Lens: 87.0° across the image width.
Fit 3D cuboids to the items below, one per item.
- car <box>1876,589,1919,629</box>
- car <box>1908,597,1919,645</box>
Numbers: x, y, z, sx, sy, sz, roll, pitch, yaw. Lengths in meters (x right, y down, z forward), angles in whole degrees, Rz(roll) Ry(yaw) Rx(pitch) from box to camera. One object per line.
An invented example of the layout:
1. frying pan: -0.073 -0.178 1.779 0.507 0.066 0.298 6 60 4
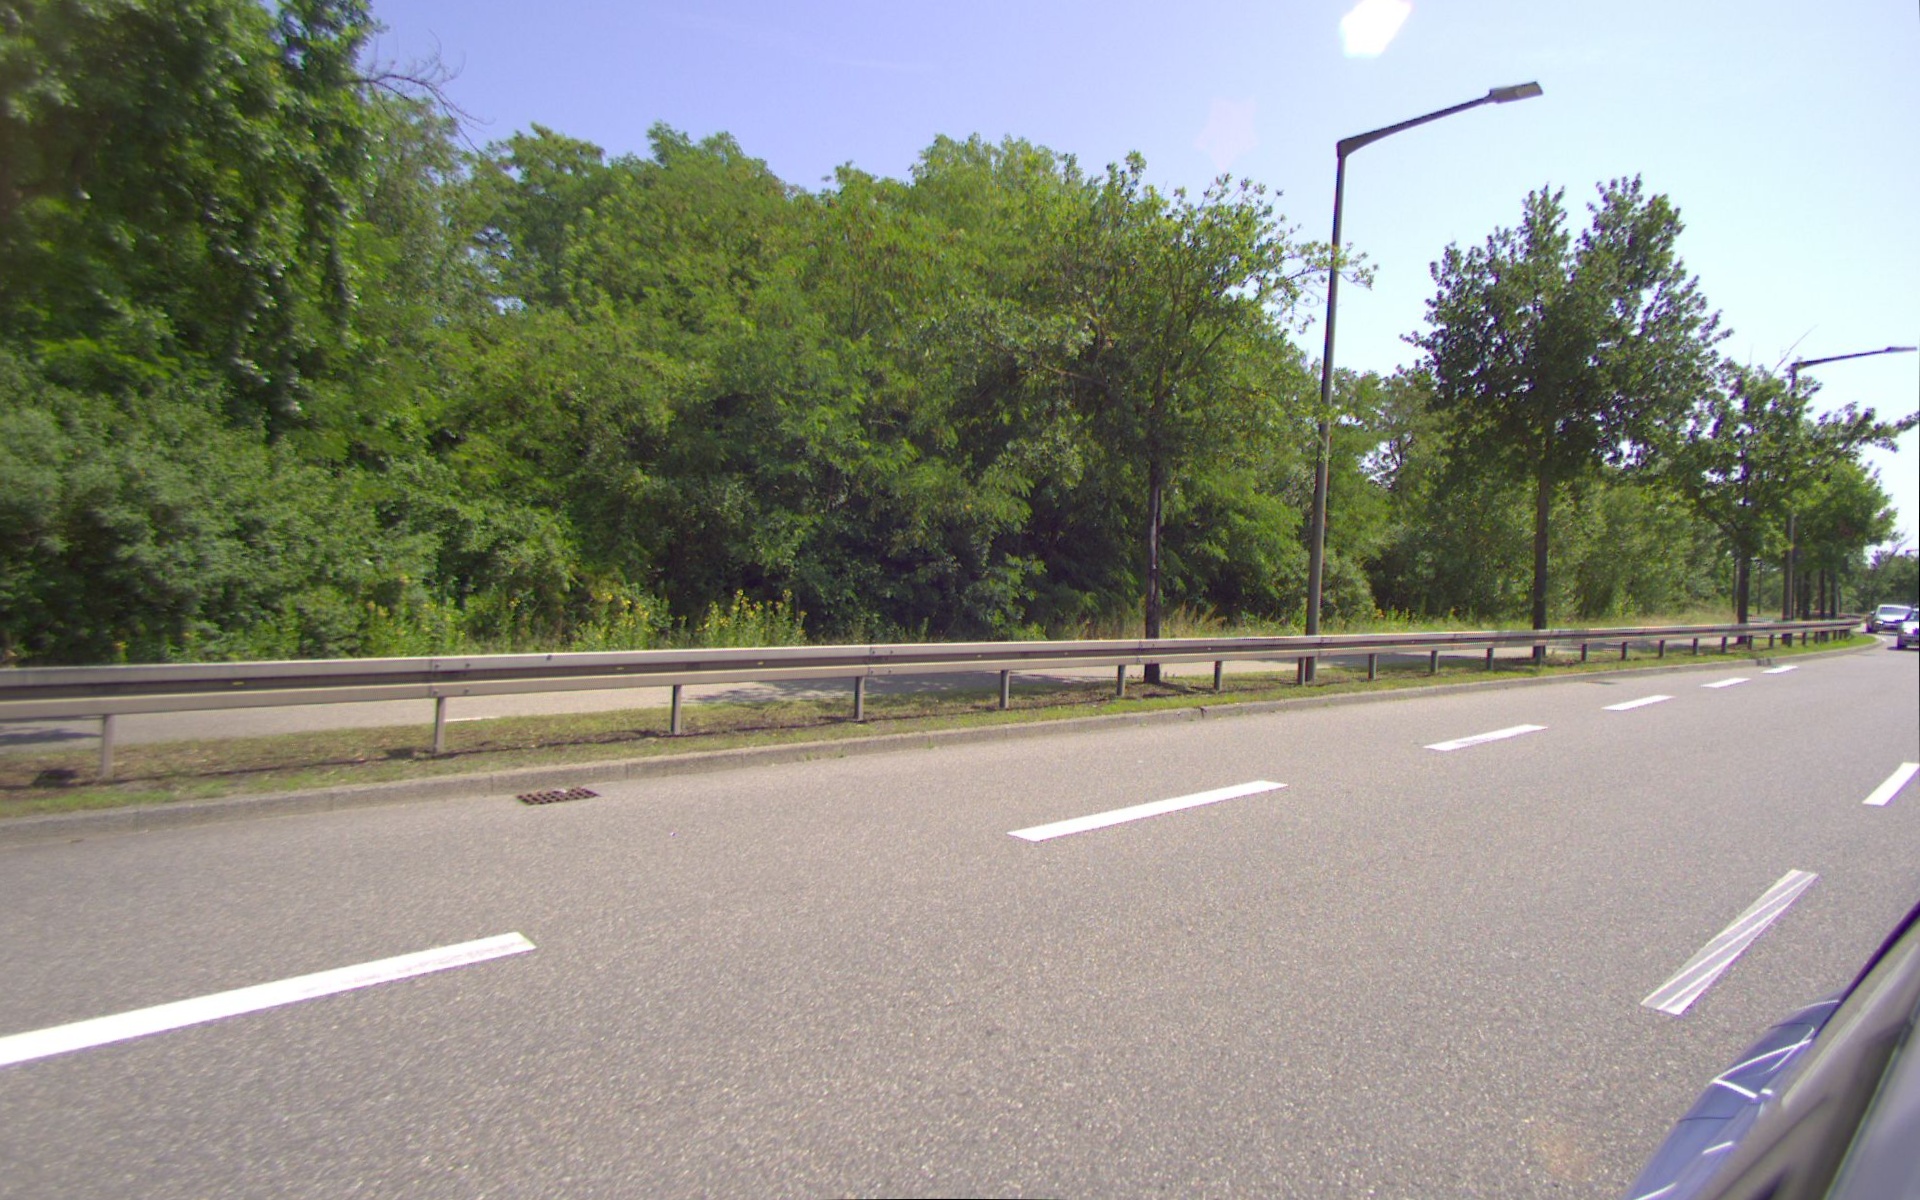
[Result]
1. car: 46.614 0.434 49.741 1.790 1.804 4.237 4 3 36
2. car: 32.823 0.663 33.700 1.759 1.518 4.166 0 1 44
